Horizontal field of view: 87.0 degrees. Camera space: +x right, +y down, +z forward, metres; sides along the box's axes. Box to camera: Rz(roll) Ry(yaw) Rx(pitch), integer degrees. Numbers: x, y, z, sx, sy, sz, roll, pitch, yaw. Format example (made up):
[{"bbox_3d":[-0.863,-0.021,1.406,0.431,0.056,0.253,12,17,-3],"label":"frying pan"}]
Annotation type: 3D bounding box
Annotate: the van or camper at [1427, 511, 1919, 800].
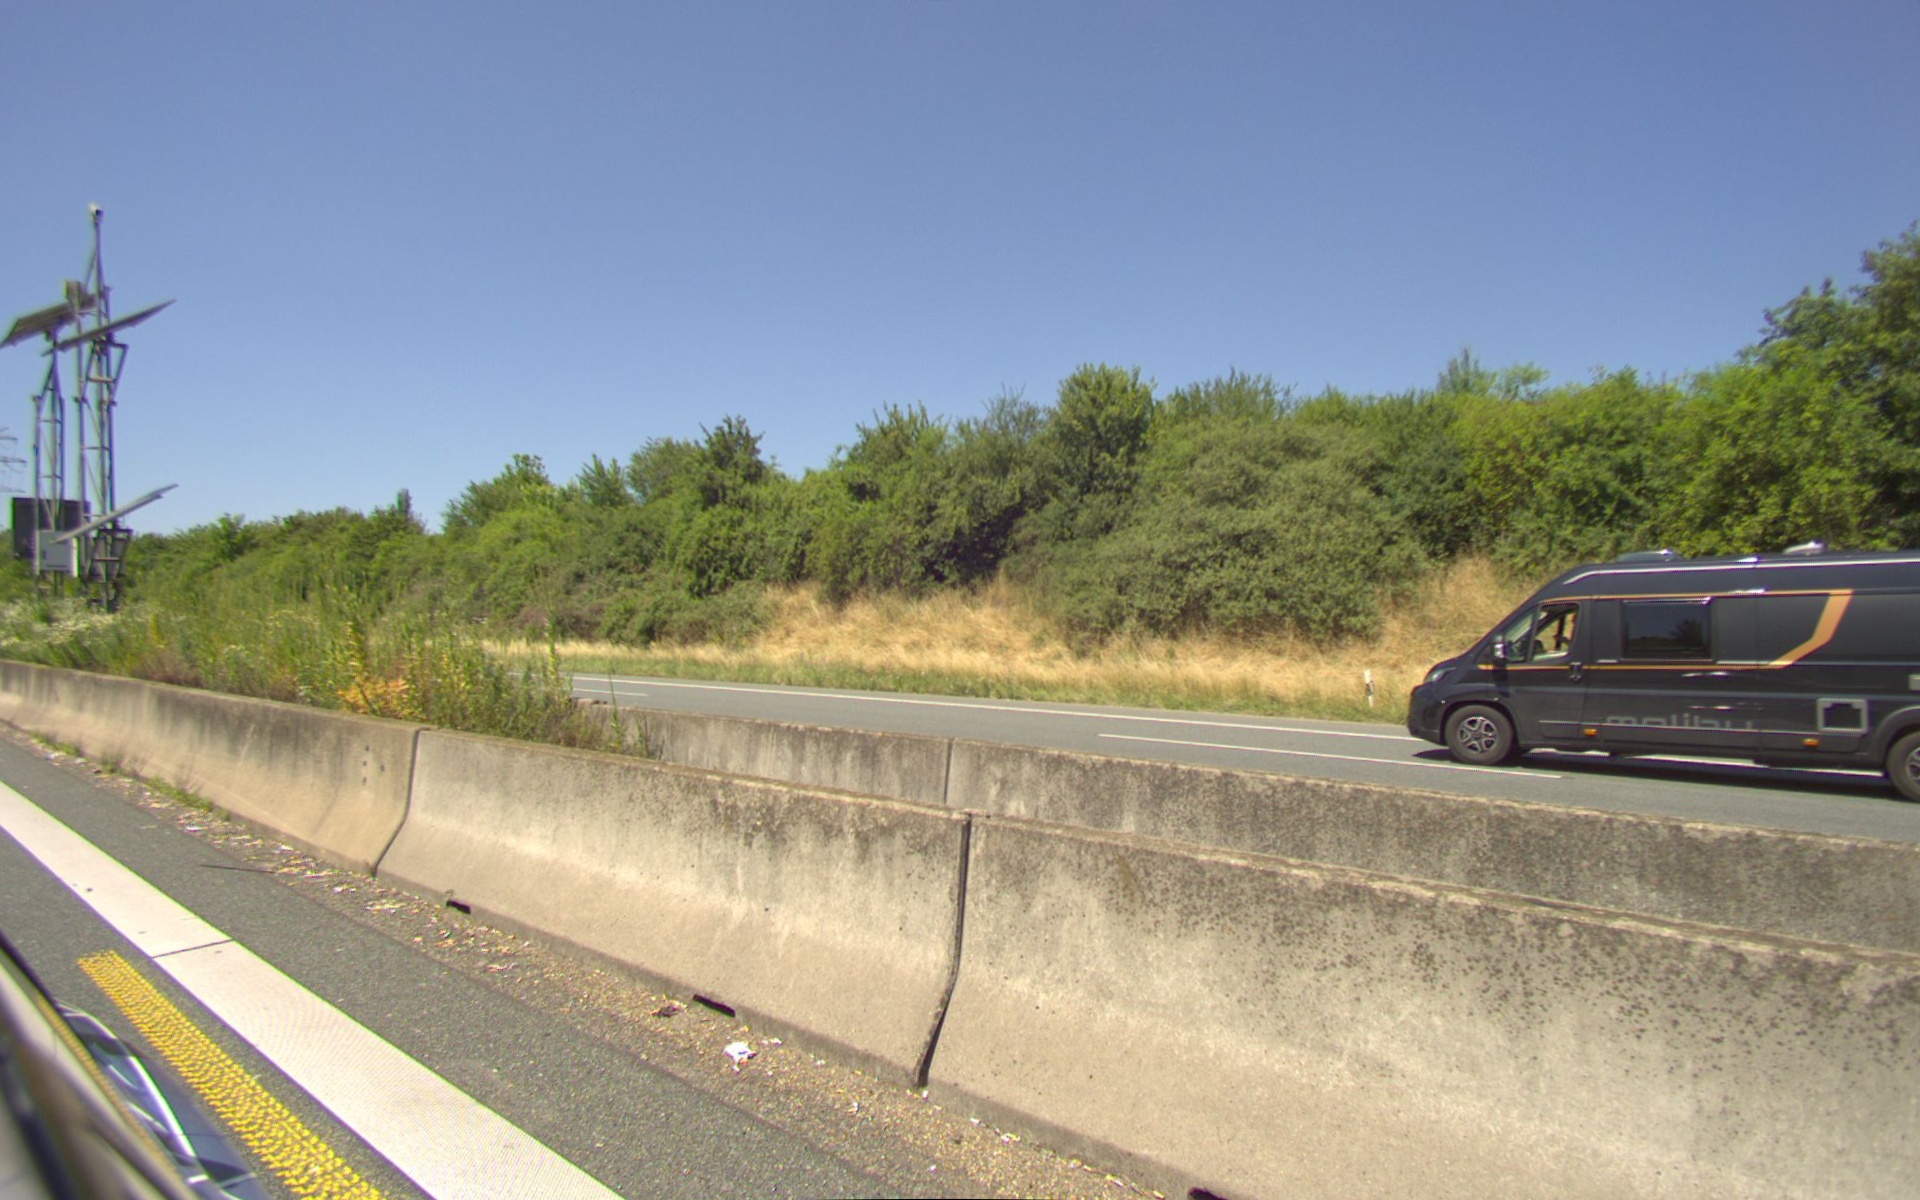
[{"bbox_3d":[9.114,0.585,10.954,7.072,2.731,2.200,-1,-4,39],"label":"van or camper"}]
